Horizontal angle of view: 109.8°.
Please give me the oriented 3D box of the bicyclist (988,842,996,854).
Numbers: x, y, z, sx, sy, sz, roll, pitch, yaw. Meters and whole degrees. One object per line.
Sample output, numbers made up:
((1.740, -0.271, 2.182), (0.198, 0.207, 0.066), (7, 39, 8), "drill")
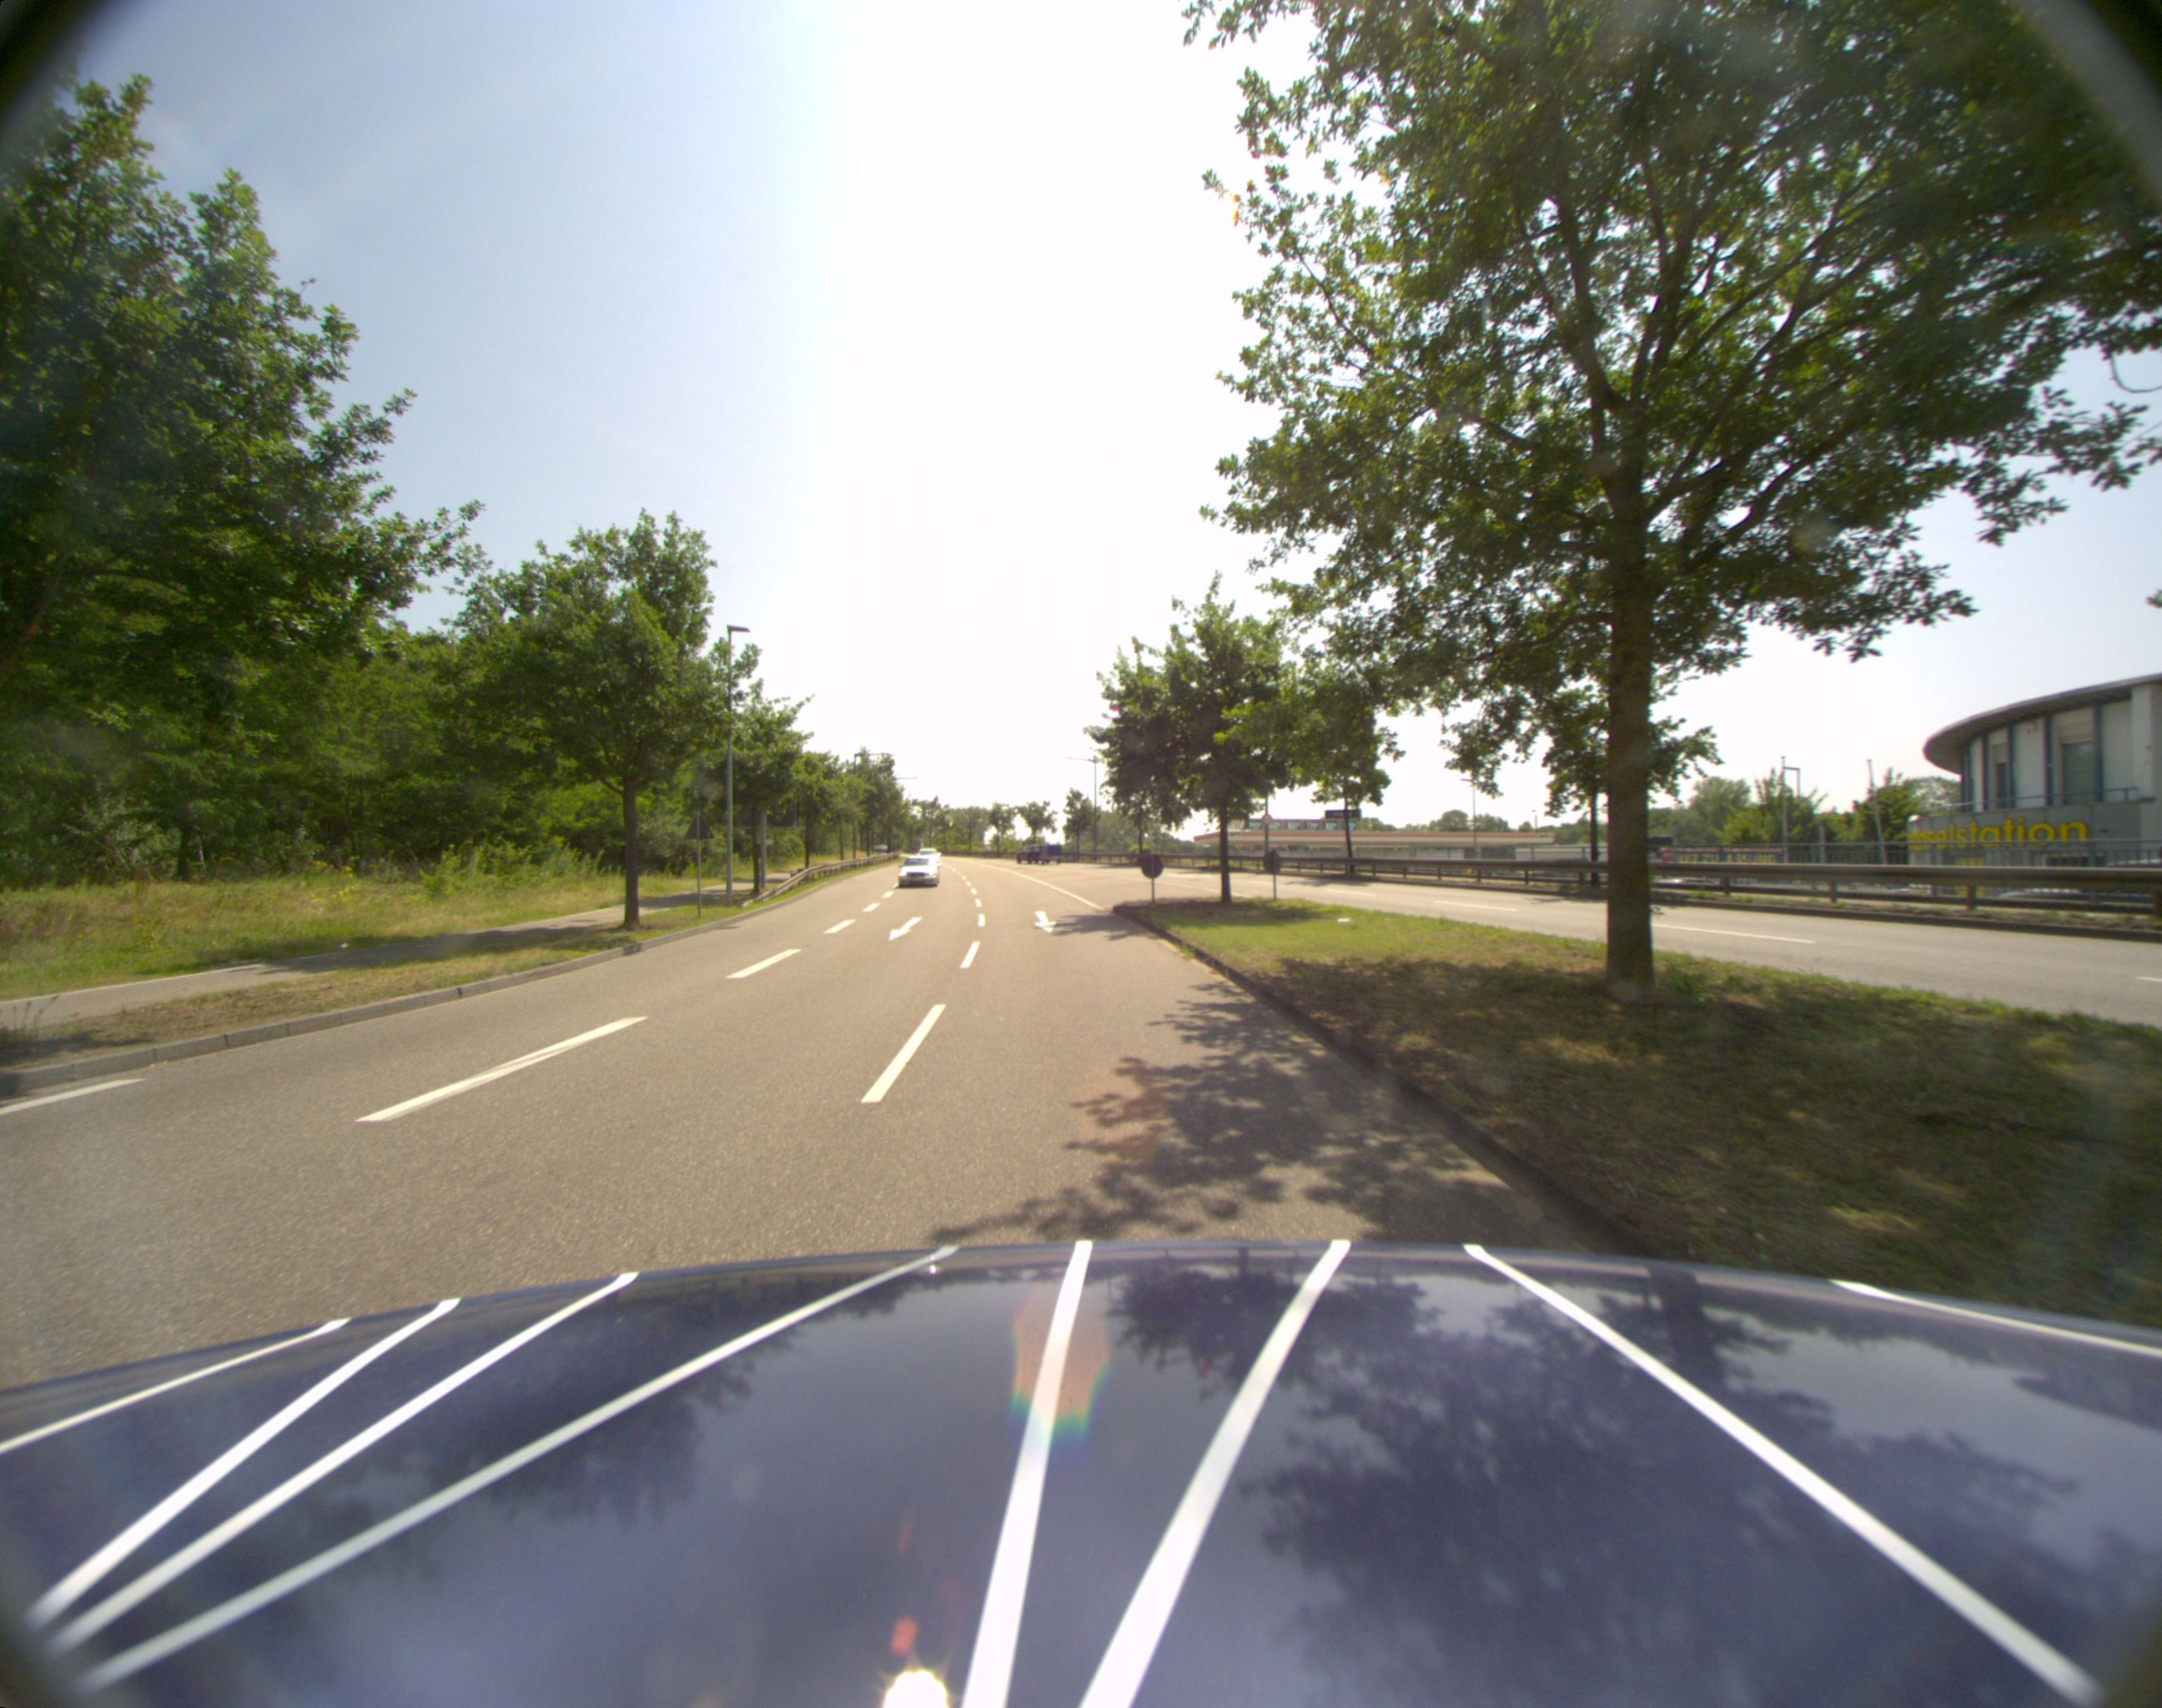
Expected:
((-11.785, -0.806, 100.152), (0.733, 1.457, 0.822), (3, 1, -25), "bicyclist")

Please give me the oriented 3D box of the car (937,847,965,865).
((-10.436, 0.132, 60.823), (2.001, 1.361, 4.228), (-1, 0, -13), "car")

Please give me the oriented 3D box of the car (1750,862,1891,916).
((29.893, 1.377, 30.781), (3.999, 2.002, 1.999), (-1, 1, -6), "car")

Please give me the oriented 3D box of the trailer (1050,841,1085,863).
((-1.078, -0.165, 59.272), (1.511, 1.606, 3.301), (-2, 1, -23), "trailer")

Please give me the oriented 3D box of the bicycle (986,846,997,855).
((-11.822, -0.496, 100.178), (0.738, 1.110, 2.041), (3, 0, -25), "bicycle")

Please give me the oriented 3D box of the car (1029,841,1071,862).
((-2.622, -0.183, 62.802), (1.923, 1.642, 4.399), (-1, 0, -24), "car")

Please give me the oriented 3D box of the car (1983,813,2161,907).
((18.952, 0.122, 12.782), (1.903, 1.560, 4.638), (1, 1, -2), "car")

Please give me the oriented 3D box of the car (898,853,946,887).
((-7.407, 0.694, 35.754), (1.764, 1.490, 4.231), (-1, 0, -6), "car")
